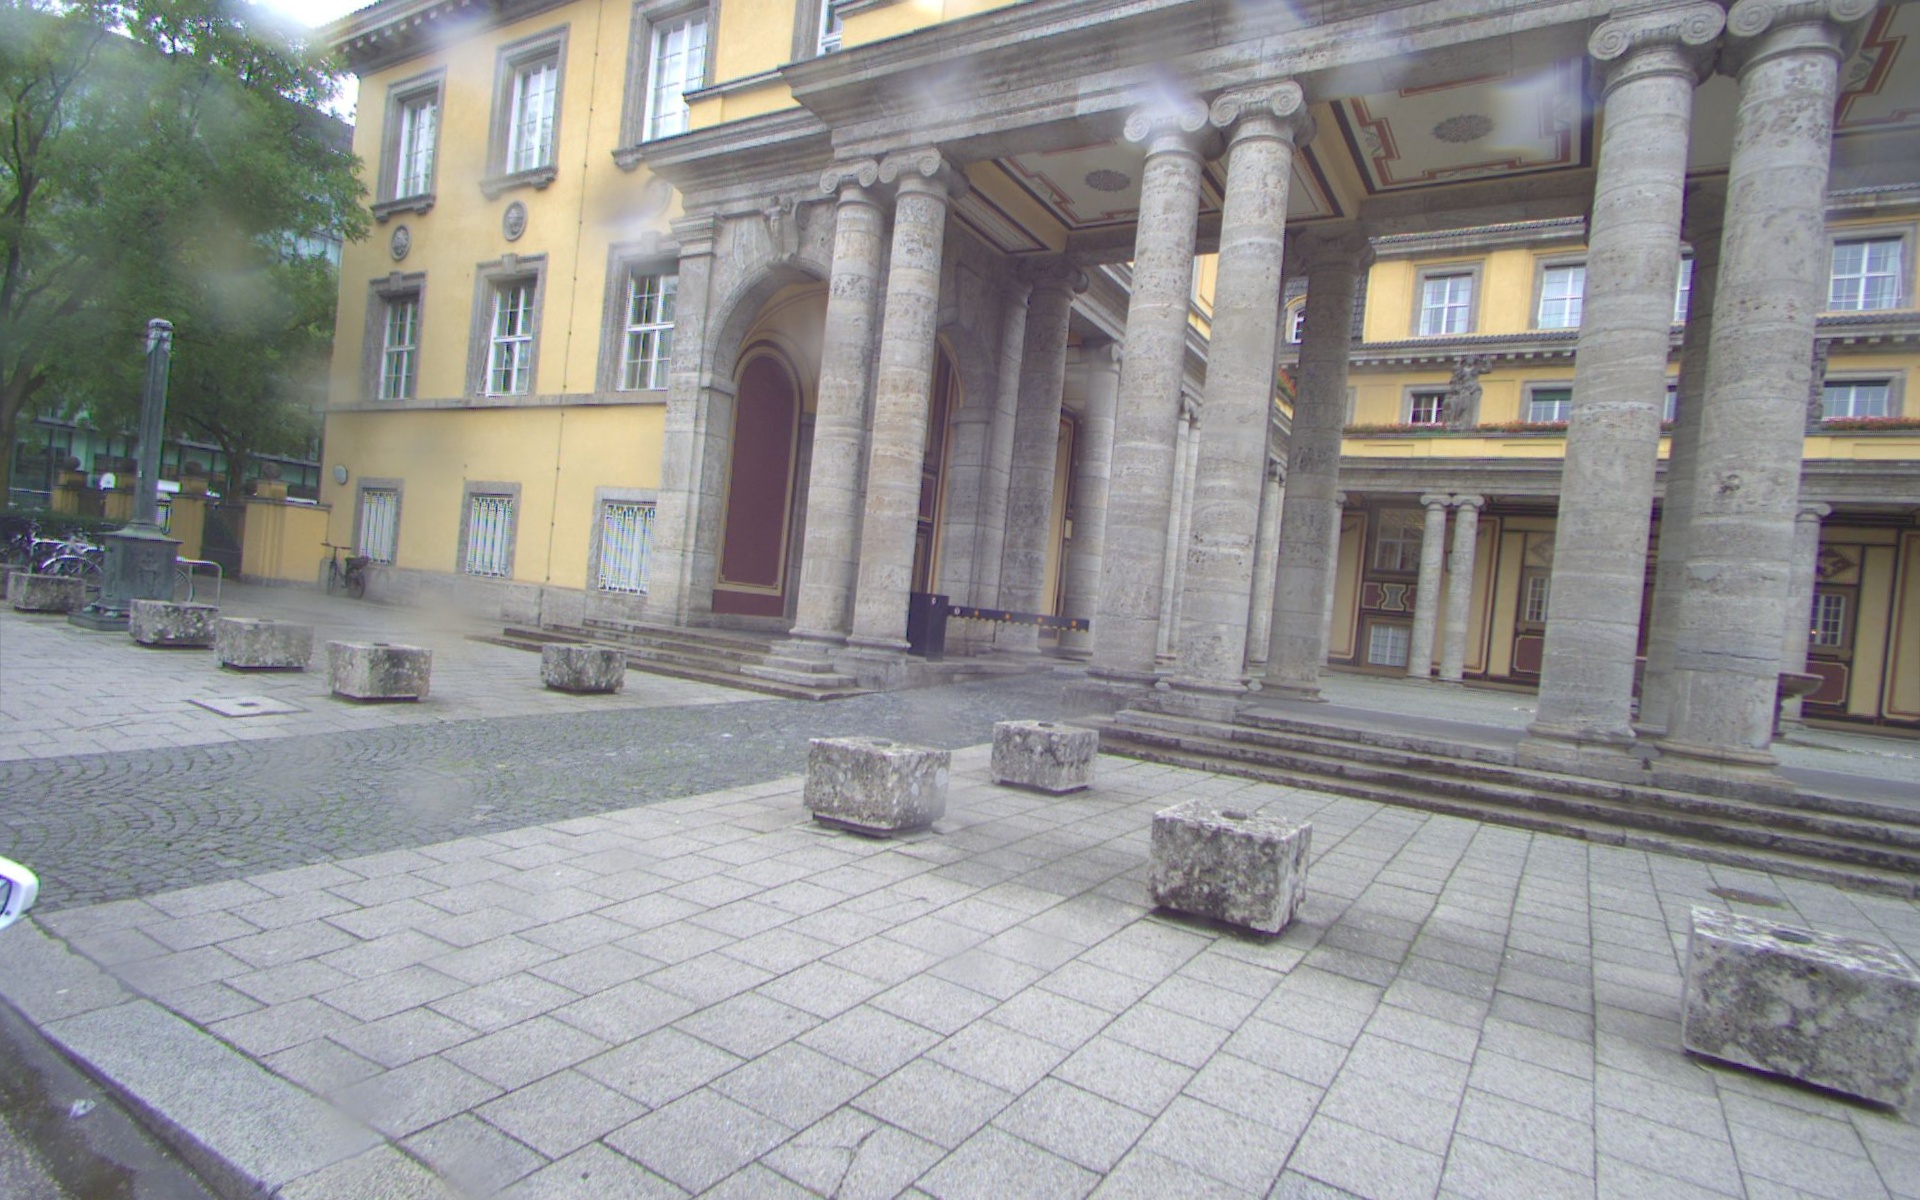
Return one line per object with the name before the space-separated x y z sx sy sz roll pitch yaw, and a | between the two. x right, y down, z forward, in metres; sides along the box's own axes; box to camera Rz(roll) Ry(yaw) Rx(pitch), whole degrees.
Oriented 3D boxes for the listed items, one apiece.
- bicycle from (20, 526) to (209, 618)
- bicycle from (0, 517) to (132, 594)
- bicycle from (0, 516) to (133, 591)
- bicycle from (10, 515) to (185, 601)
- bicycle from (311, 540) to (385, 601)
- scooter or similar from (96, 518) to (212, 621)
bicycle | -11.692 -0.358 13.993 0.463 1.128 1.934 6 1 29
bicycle | -14.985 -0.731 16.605 0.464 1.128 1.931 6 1 34
bicycle | -15.498 -0.790 17.247 0.464 1.128 1.932 6 1 33
bicycle | -13.108 -0.614 15.349 0.464 1.128 1.931 6 1 34
bicycle | -13.688 -0.671 22.493 1.870 1.169 0.542 7 2 31
scooter or similar | -10.627 -0.398 13.283 0.996 1.238 0.536 5 2 -13
